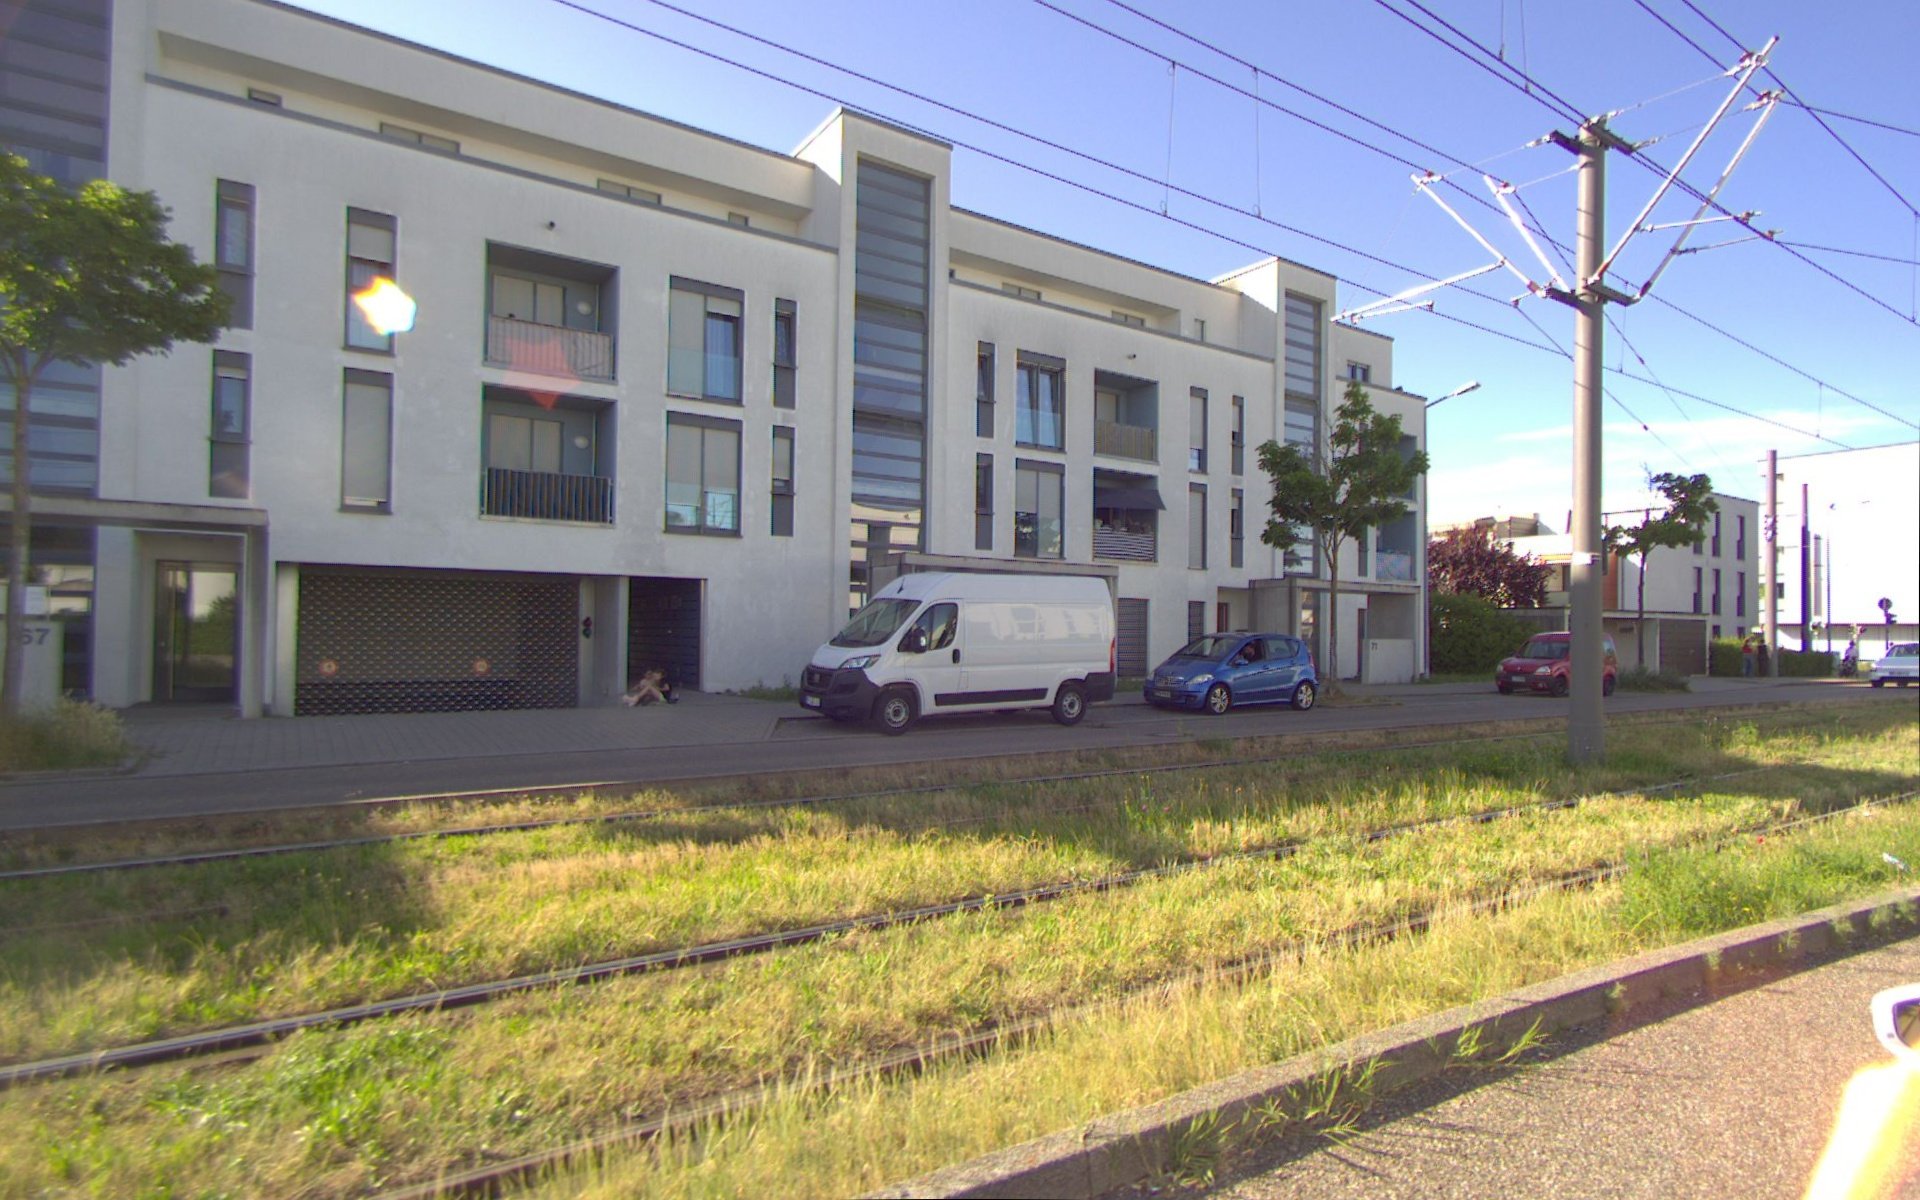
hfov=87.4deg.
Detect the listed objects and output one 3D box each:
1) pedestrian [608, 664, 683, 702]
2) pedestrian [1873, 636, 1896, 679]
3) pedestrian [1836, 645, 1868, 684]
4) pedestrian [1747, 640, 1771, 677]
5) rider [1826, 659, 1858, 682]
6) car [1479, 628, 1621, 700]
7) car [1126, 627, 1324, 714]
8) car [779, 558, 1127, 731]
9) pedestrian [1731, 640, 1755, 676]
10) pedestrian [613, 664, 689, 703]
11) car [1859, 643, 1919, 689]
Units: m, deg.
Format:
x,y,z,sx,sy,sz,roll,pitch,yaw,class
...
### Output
x,y,z,sx,sy,sz,roll,pitch,yaw,class
-5.869,1.546,18.769,1.270,0.661,0.362,2,0,-30,pedestrian
44.810,2.779,48.702,0.753,2.040,0.665,2,0,45,pedestrian
41.910,3.034,47.177,0.898,1.771,0.813,2,0,-27,pedestrian
33.172,2.435,41.710,0.605,1.483,0.554,2,0,-30,pedestrian
41.034,3.267,46.741,1.031,1.016,0.775,2,0,-27,rider
16.557,1.743,28.146,3.794,1.819,1.871,2,0,-32,car
5.454,1.393,20.556,3.800,1.557,1.814,2,0,-33,car
-0.009,0.698,16.769,5.531,2.477,2.127,2,0,-33,car
32.988,2.433,42.326,0.734,1.483,0.554,2,0,-30,pedestrian
-5.676,1.529,18.454,1.270,0.661,0.362,2,0,-30,pedestrian
35.178,2.397,37.049,4.599,1.616,1.981,2,-4,-35,car
